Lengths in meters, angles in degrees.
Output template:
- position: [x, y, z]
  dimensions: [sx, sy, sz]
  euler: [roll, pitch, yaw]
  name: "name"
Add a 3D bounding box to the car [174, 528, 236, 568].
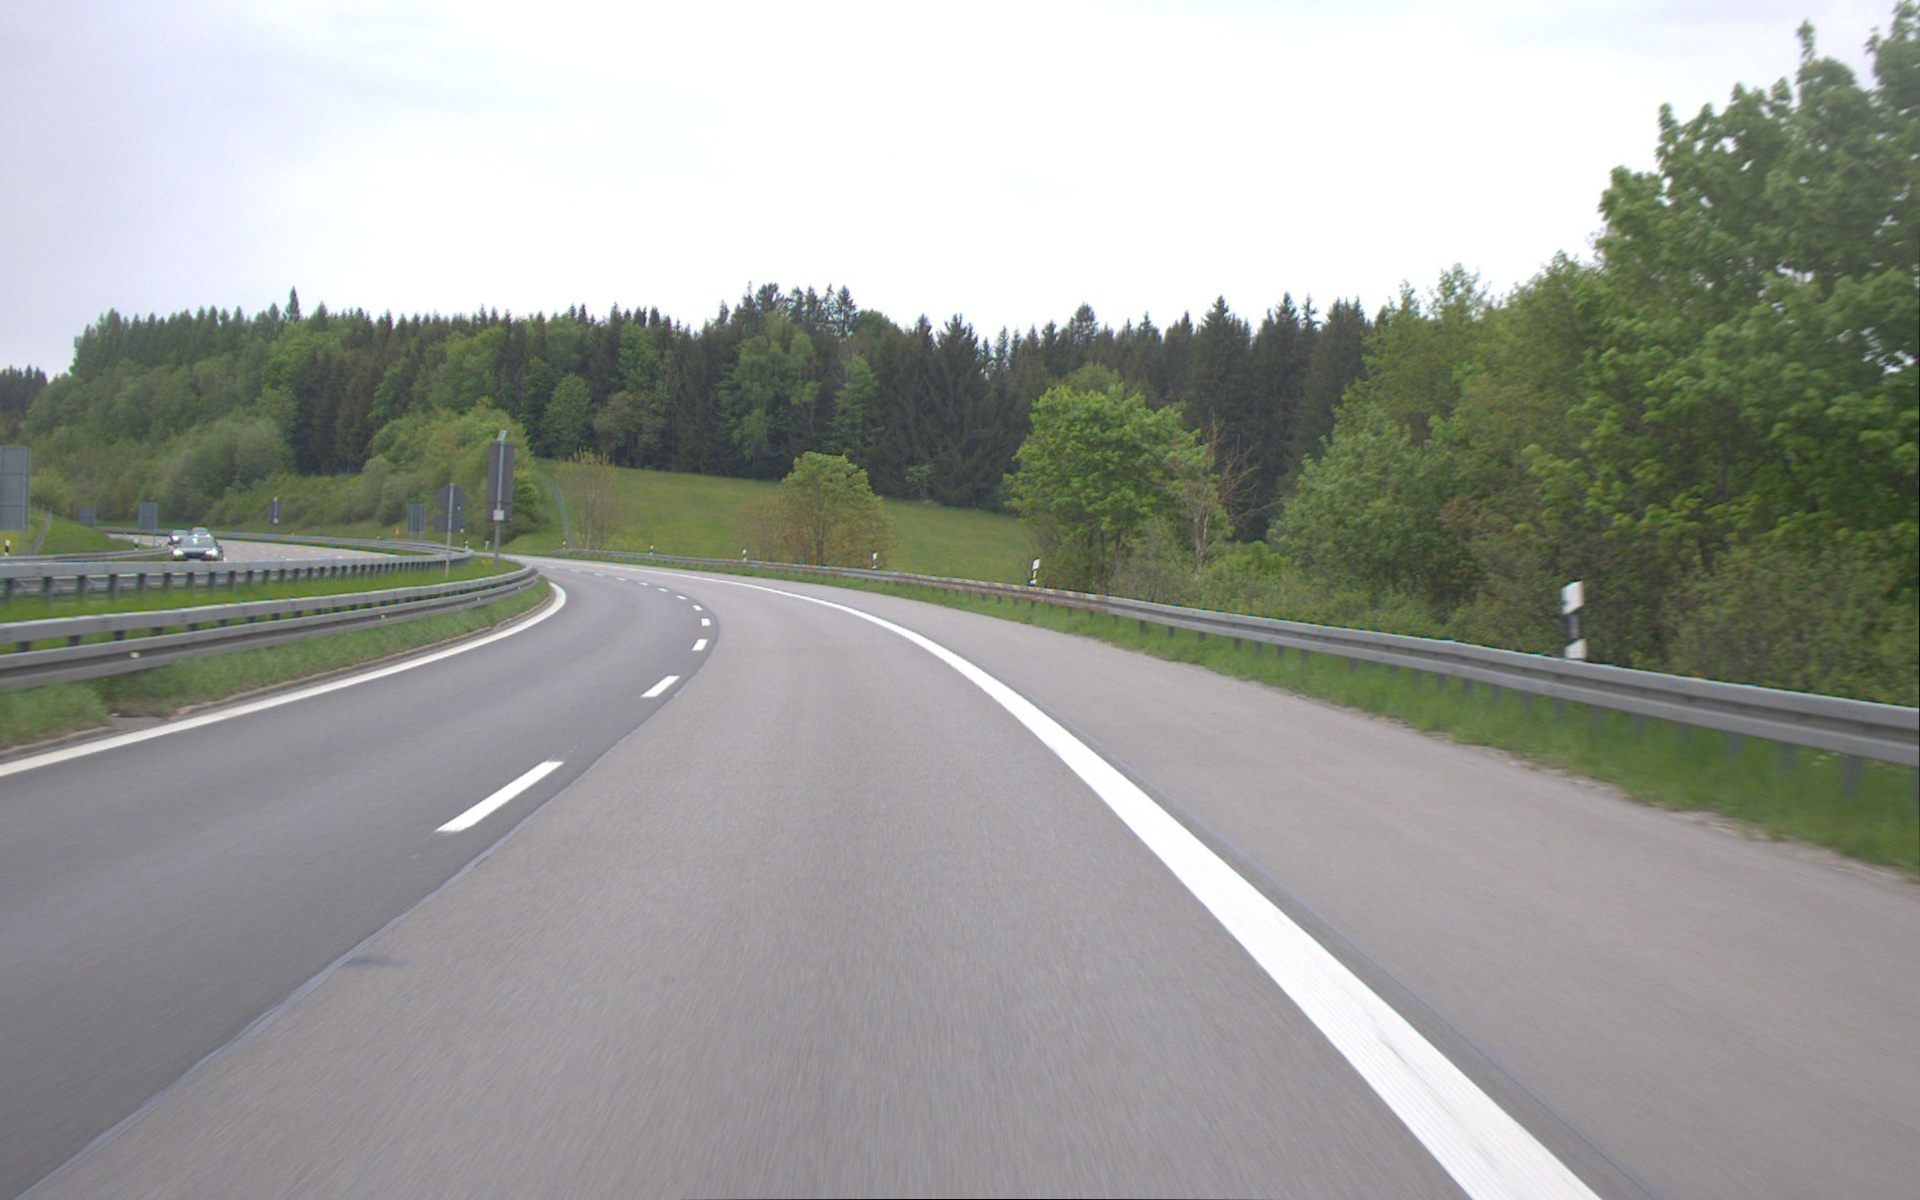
- position: [-30.998, -2.138, 141.211]
  dimensions: [1.993, 1.493, 4.152]
  euler: [4, 1, -6]
  name: "car"
